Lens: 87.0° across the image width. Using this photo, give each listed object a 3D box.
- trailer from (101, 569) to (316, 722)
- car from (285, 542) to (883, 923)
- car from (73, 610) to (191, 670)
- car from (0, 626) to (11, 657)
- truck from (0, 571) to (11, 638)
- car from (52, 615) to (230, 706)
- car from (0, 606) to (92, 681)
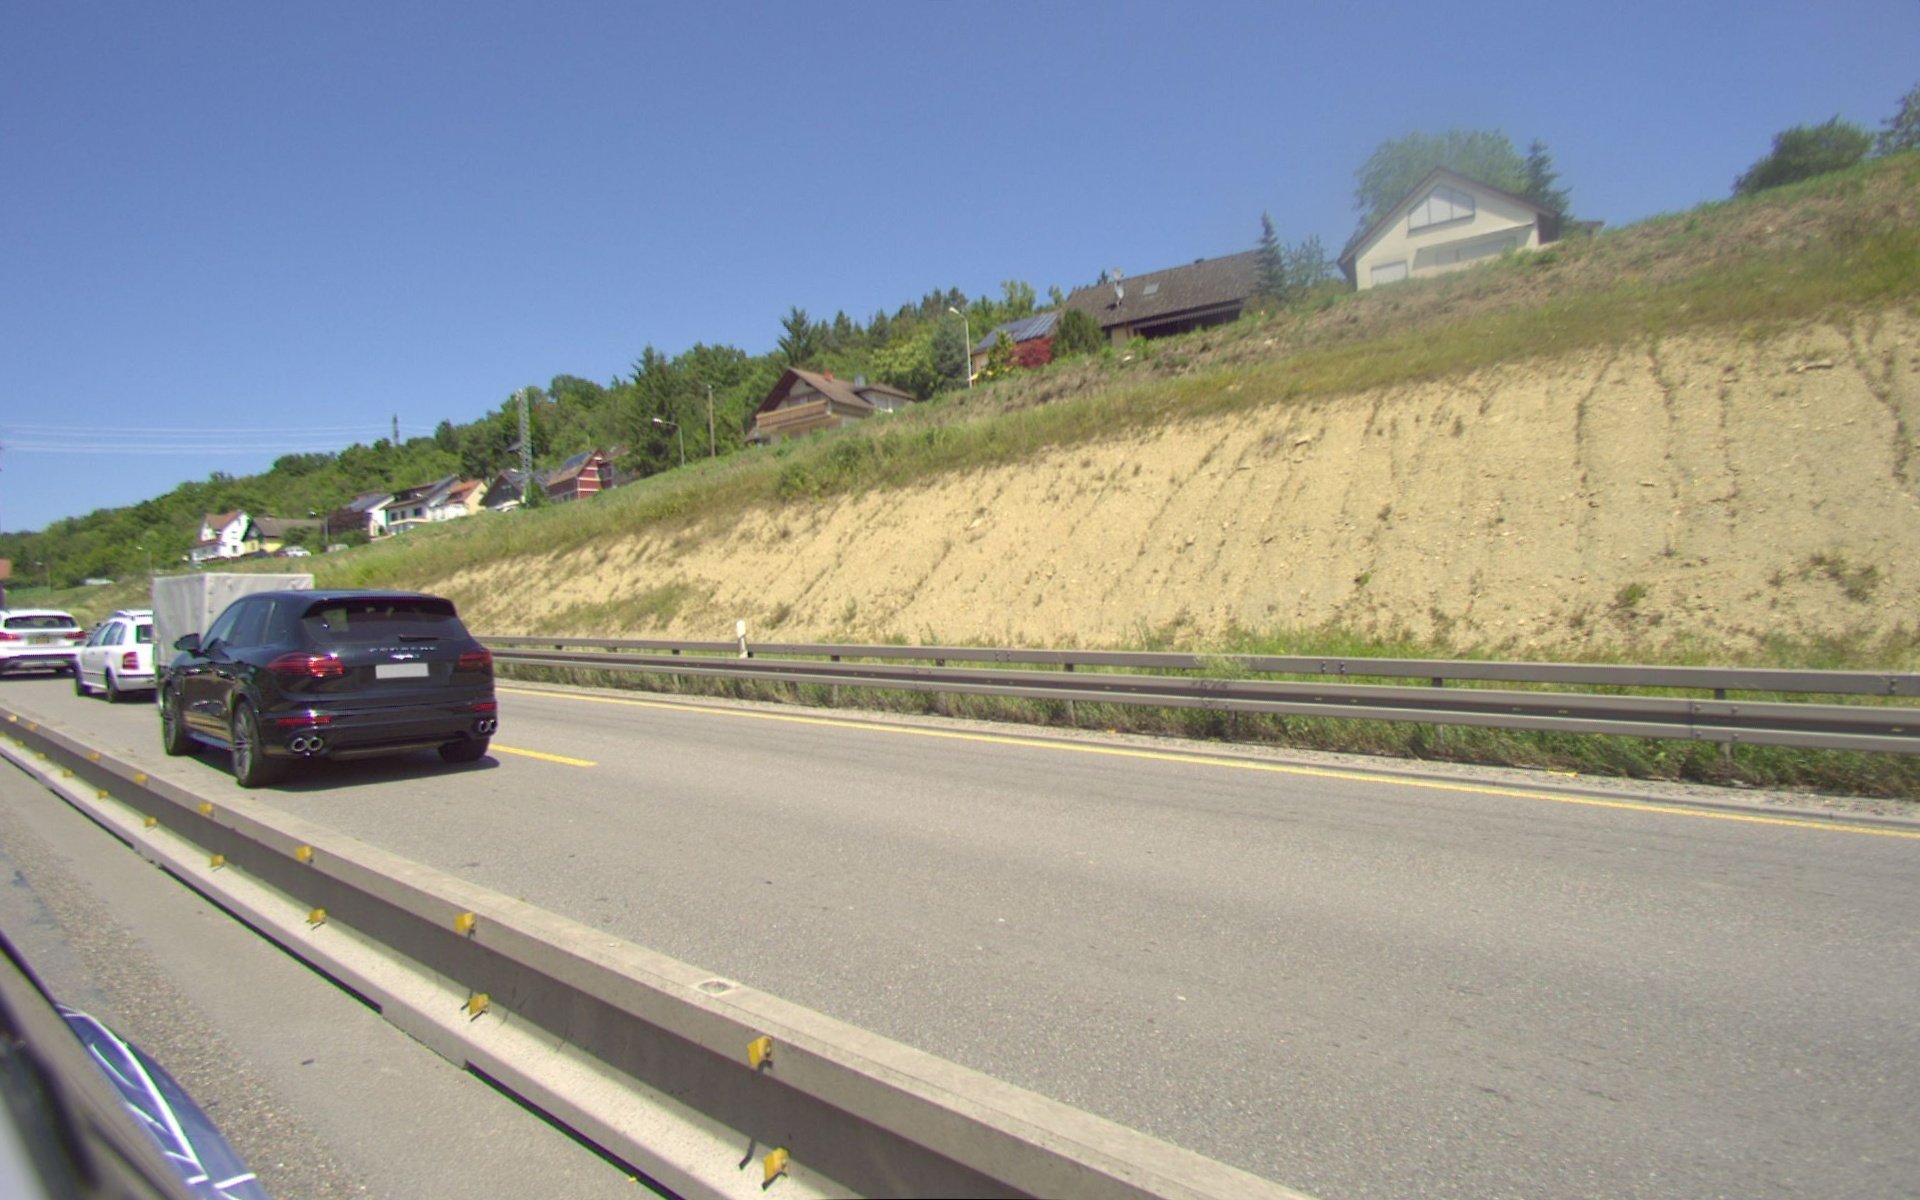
[{"bbox_3d":[-11.578,0.639,15.495,4.265,2.041,1.631,-1,-1,39],"label":"trailer"},{"bbox_3d":[-2.771,0.628,6.804,4.560,1.721,1.871,-1,-1,42],"label":"car"},{"bbox_3d":[-24.304,1.120,29.647,4.511,1.596,1.880,-1,0,40],"label":"car"},{"bbox_3d":[-45.627,1.947,47.123,3.964,1.389,1.684,-1,0,40],"label":"car"},{"bbox_3d":[-65.340,0.395,66.279,13.969,4.191,3.210,-1,-1,41],"label":"truck"},{"bbox_3d":[-14.464,0.990,17.807,3.995,1.426,1.631,-1,-1,39],"label":"car"},{"bbox_3d":[-22.251,0.989,24.062,4.287,1.604,1.797,-1,0,40],"label":"car"}]
